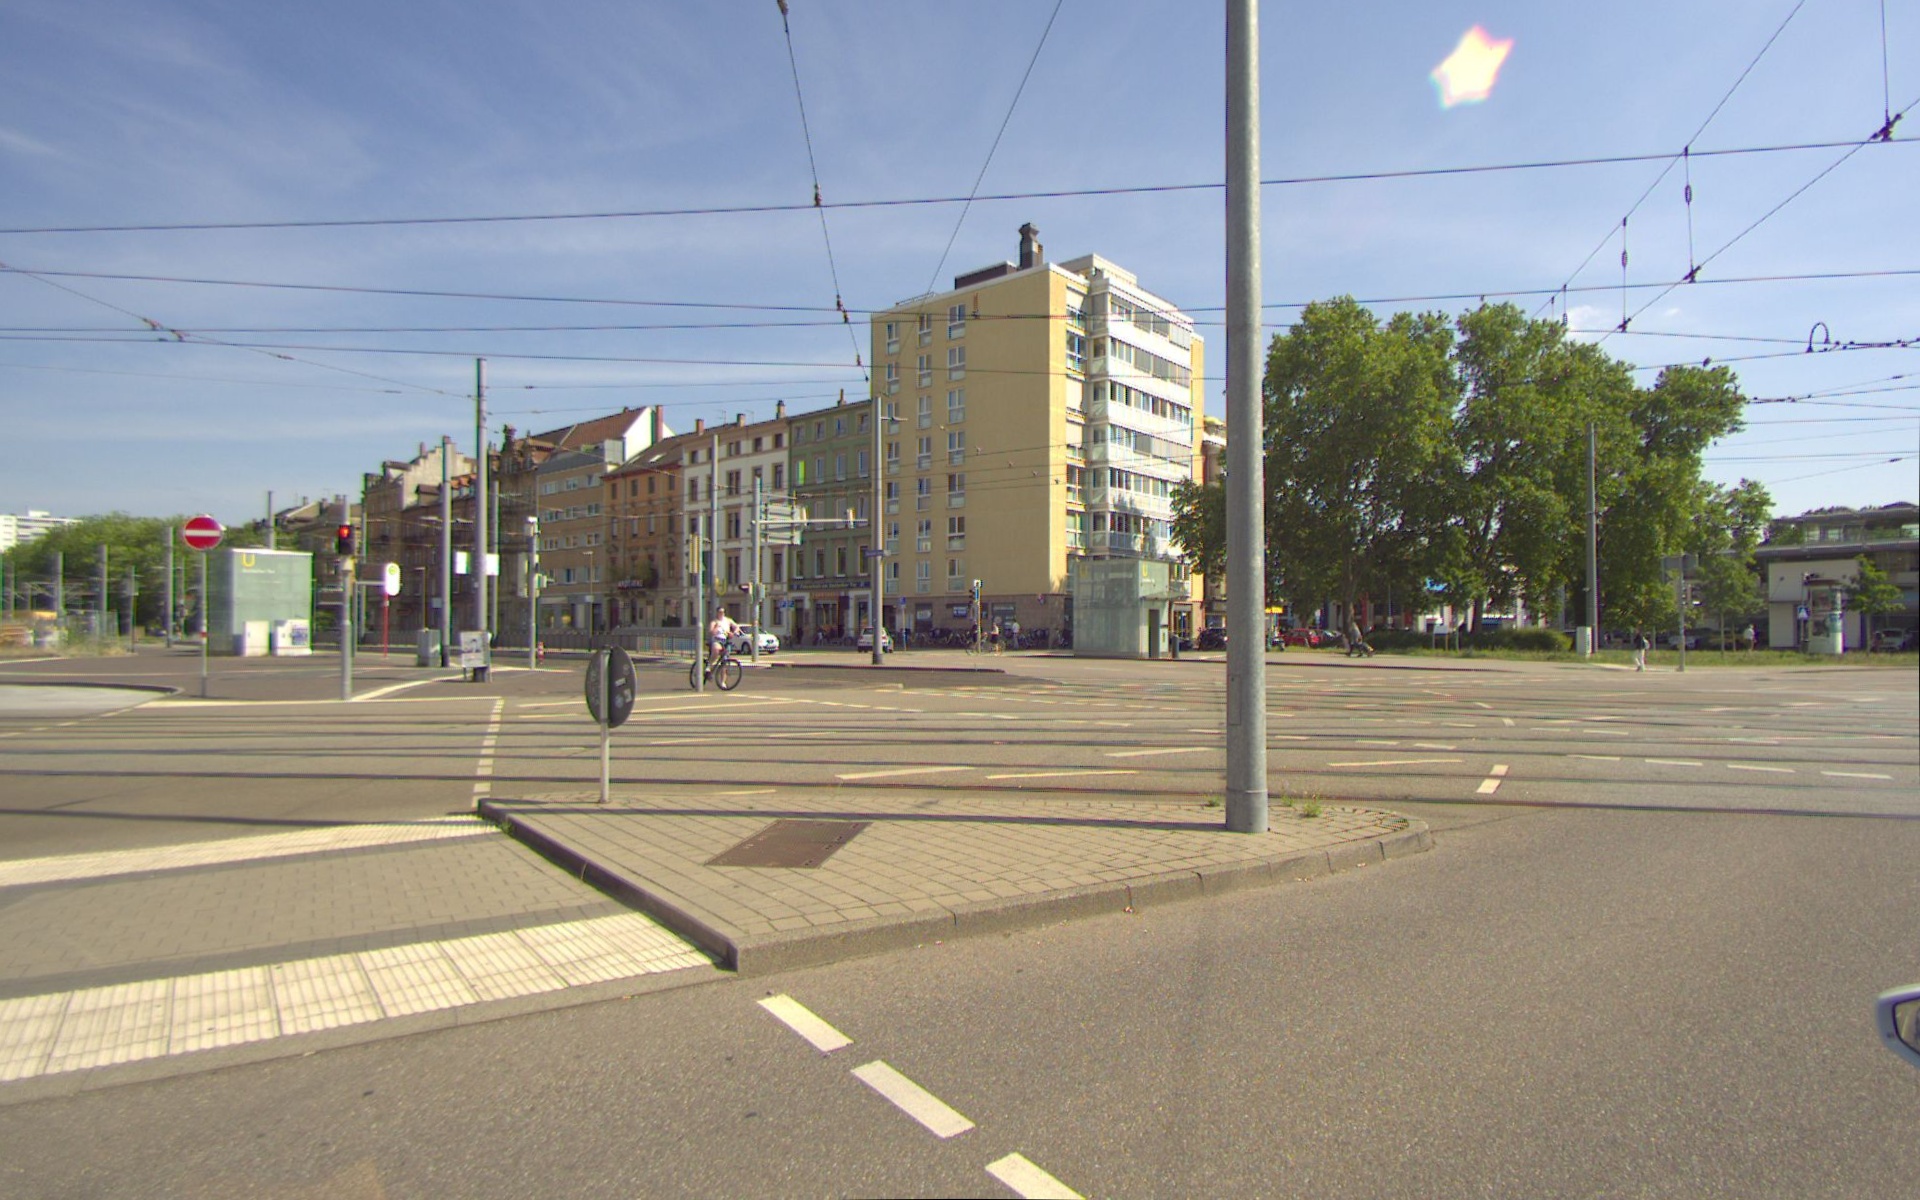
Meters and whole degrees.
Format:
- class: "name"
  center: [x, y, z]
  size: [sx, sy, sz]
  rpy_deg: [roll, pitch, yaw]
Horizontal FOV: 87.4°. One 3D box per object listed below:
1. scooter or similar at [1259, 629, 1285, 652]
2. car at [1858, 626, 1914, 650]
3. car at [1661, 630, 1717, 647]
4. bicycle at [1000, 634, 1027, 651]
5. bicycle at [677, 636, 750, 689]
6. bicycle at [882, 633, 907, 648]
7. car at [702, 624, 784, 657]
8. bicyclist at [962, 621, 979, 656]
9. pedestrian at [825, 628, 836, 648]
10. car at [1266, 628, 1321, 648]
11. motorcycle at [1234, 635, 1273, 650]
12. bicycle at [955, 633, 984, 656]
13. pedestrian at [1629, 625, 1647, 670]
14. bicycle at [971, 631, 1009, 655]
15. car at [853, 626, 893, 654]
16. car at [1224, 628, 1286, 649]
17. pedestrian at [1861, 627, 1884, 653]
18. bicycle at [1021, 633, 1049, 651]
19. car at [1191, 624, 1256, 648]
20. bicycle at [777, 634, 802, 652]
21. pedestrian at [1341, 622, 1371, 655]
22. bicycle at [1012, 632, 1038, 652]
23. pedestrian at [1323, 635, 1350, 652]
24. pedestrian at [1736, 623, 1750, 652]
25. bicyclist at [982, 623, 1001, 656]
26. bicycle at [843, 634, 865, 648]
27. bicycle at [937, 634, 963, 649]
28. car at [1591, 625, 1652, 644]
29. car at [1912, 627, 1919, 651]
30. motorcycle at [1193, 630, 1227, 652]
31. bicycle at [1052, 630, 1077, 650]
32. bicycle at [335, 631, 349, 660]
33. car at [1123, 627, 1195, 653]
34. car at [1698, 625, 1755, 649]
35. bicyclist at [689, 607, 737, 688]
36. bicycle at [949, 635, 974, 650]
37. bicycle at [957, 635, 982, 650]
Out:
- class: "scooter or similar"
  center: [15.528, 2.011, 49.958]
  size: [0.509, 1.134, 1.357]
  rpy_deg: [1, -1, -22]
- class: "car"
  center: [63.297, 2.592, 68.645]
  size: [3.959, 1.506, 1.981]
  rpy_deg: [2, 0, -34]
- class: "car"
  center: [57.433, 3.032, 79.108]
  size: [3.949, 1.261, 1.986]
  rpy_deg: [2, 0, -28]
- class: "bicycle"
  center: [3.252, 2.578, 61.248]
  size: [0.580, 0.978, 1.734]
  rpy_deg: [0, -2, -44]
- class: "bicycle"
  center: [-5.356, 1.341, 21.769]
  size: [0.746, 1.098, 1.826]
  rpy_deg: [2, -4, -42]
- class: "bicycle"
  center: [-4.458, 2.764, 68.020]
  size: [1.753, 0.977, 0.581]
  rpy_deg: [-2, 0, 40]
- class: "car"
  center: [-10.386, 1.902, 47.964]
  size: [4.064, 1.417, 1.751]
  rpy_deg: [-1, 2, 41]
- class: "bicyclist"
  center: [0.526, 1.912, 50.049]
  size: [0.574, 1.757, 0.616]
  rpy_deg: [-1, -3, 35]
- class: "pedestrian"
  center: [-9.350, 2.752, 72.647]
  size: [0.637, 1.392, 0.524]
  rpy_deg: [-1, -2, 41]
- class: "car"
  center: [26.132, 2.940, 78.796]
  size: [3.681, 1.358, 1.735]
  rpy_deg: [2, 0, 42]
- class: "motorcycle"
  center: [16.487, 2.383, 56.430]
  size: [1.997, 0.853, 0.641]
  rpy_deg: [0, -1, 2]
- class: "bicycle"
  center: [0.496, 2.225, 50.216]
  size: [0.574, 1.145, 1.792]
  rpy_deg: [-1, -3, 34]
- class: "pedestrian"
  center: [24.900, 1.732, 36.896]
  size: [0.445, 1.626, 0.400]
  rpy_deg: [2, 0, 22]
- class: "bicycle"
  center: [1.469, 2.102, 48.870]
  size: [1.777, 1.145, 0.748]
  rpy_deg: [1, -1, -32]
- class: "car"
  center: [-4.859, 2.285, 56.616]
  size: [1.777, 1.458, 4.003]
  rpy_deg: [1, -4, 2]
- class: "car"
  center: [21.259, 2.783, 72.474]
  size: [3.942, 1.287, 1.735]
  rpy_deg: [2, 0, 42]
- class: "pedestrian"
  center: [59.377, 2.596, 65.356]
  size: [0.529, 1.601, 0.947]
  rpy_deg: [2, 0, -35]
- class: "bicycle"
  center: [4.490, 2.506, 60.160]
  size: [0.580, 1.056, 1.735]
  rpy_deg: [0, -2, -42]
- class: "car"
  center: [18.142, 2.495, 69.230]
  size: [3.942, 1.459, 1.881]
  rpy_deg: [2, 0, 42]
- class: "bicycle"
  center: [-11.067, 2.818, 65.289]
  size: [1.793, 1.109, 0.581]
  rpy_deg: [-2, 0, 41]
- class: "pedestrian"
  center: [18.049, 1.753, 45.740]
  size: [1.099, 1.422, 0.654]
  rpy_deg: [2, 0, 36]
- class: "bicycle"
  center: [3.873, 2.497, 59.908]
  size: [0.578, 1.100, 1.738]
  rpy_deg: [-3, 0, -37]
- class: "pedestrian"
  center: [20.538, 2.350, 54.762]
  size: [1.158, 0.904, 0.819]
  rpy_deg: [-1, -2, 39]
- class: "pedestrian"
  center: [44.656, 2.124, 57.296]
  size: [0.455, 1.617, 0.393]
  rpy_deg: [2, 0, -9]
- class: "bicyclist"
  center: [1.520, 1.912, 48.872]
  size: [0.606, 1.593, 0.727]
  rpy_deg: [2, -3, -32]
- class: "bicycle"
  center: [-7.476, 2.879, 70.742]
  size: [1.753, 0.977, 0.412]
  rpy_deg: [-2, 0, 40]
- class: "bicycle"
  center: [-0.670, 2.652, 64.771]
  size: [1.731, 0.928, 0.581]
  rpy_deg: [-2, -2, 42]
- class: "car"
  center: [57.256, 2.982, 86.993]
  size: [1.979, 1.572, 3.963]
  rpy_deg: [1, -2, -33]
- class: "car"
  center: [64.713, 2.613, 66.264]
  size: [3.959, 1.506, 1.981]
  rpy_deg: [2, 0, -34]
- class: "motorcycle"
  center: [13.105, 2.138, 52.707]
  size: [0.632, 1.076, 2.026]
  rpy_deg: [1, -1, -24]
- class: "bicycle"
  center: [6.324, 2.422, 60.800]
  size: [0.534, 1.201, 1.879]
  rpy_deg: [-1, -1, 42]
- class: "bicycle"
  center: [-24.348, 1.781, 39.577]
  size: [0.409, 1.085, 1.650]
  rpy_deg: [0, 1, -30]
- class: "car"
  center: [12.129, 2.434, 61.262]
  size: [4.034, 1.489, 1.651]
  rpy_deg: [-1, -5, 42]
- class: "car"
  center: [58.986, 2.853, 77.315]
  size: [3.949, 1.706, 1.986]
  rpy_deg: [2, 0, -28]
- class: "bicyclist"
  center: [-5.353, 1.026, 21.760]
  size: [0.746, 1.706, 0.767]
  rpy_deg: [2, -4, -43]
- class: "bicycle"
  center: [0.078, 2.672, 63.473]
  size: [0.579, 0.928, 1.736]
  rpy_deg: [0, -2, -41]
- class: "bicycle"
  center: [0.577, 2.689, 63.727]
  size: [0.579, 0.928, 1.736]
  rpy_deg: [0, -2, -41]
